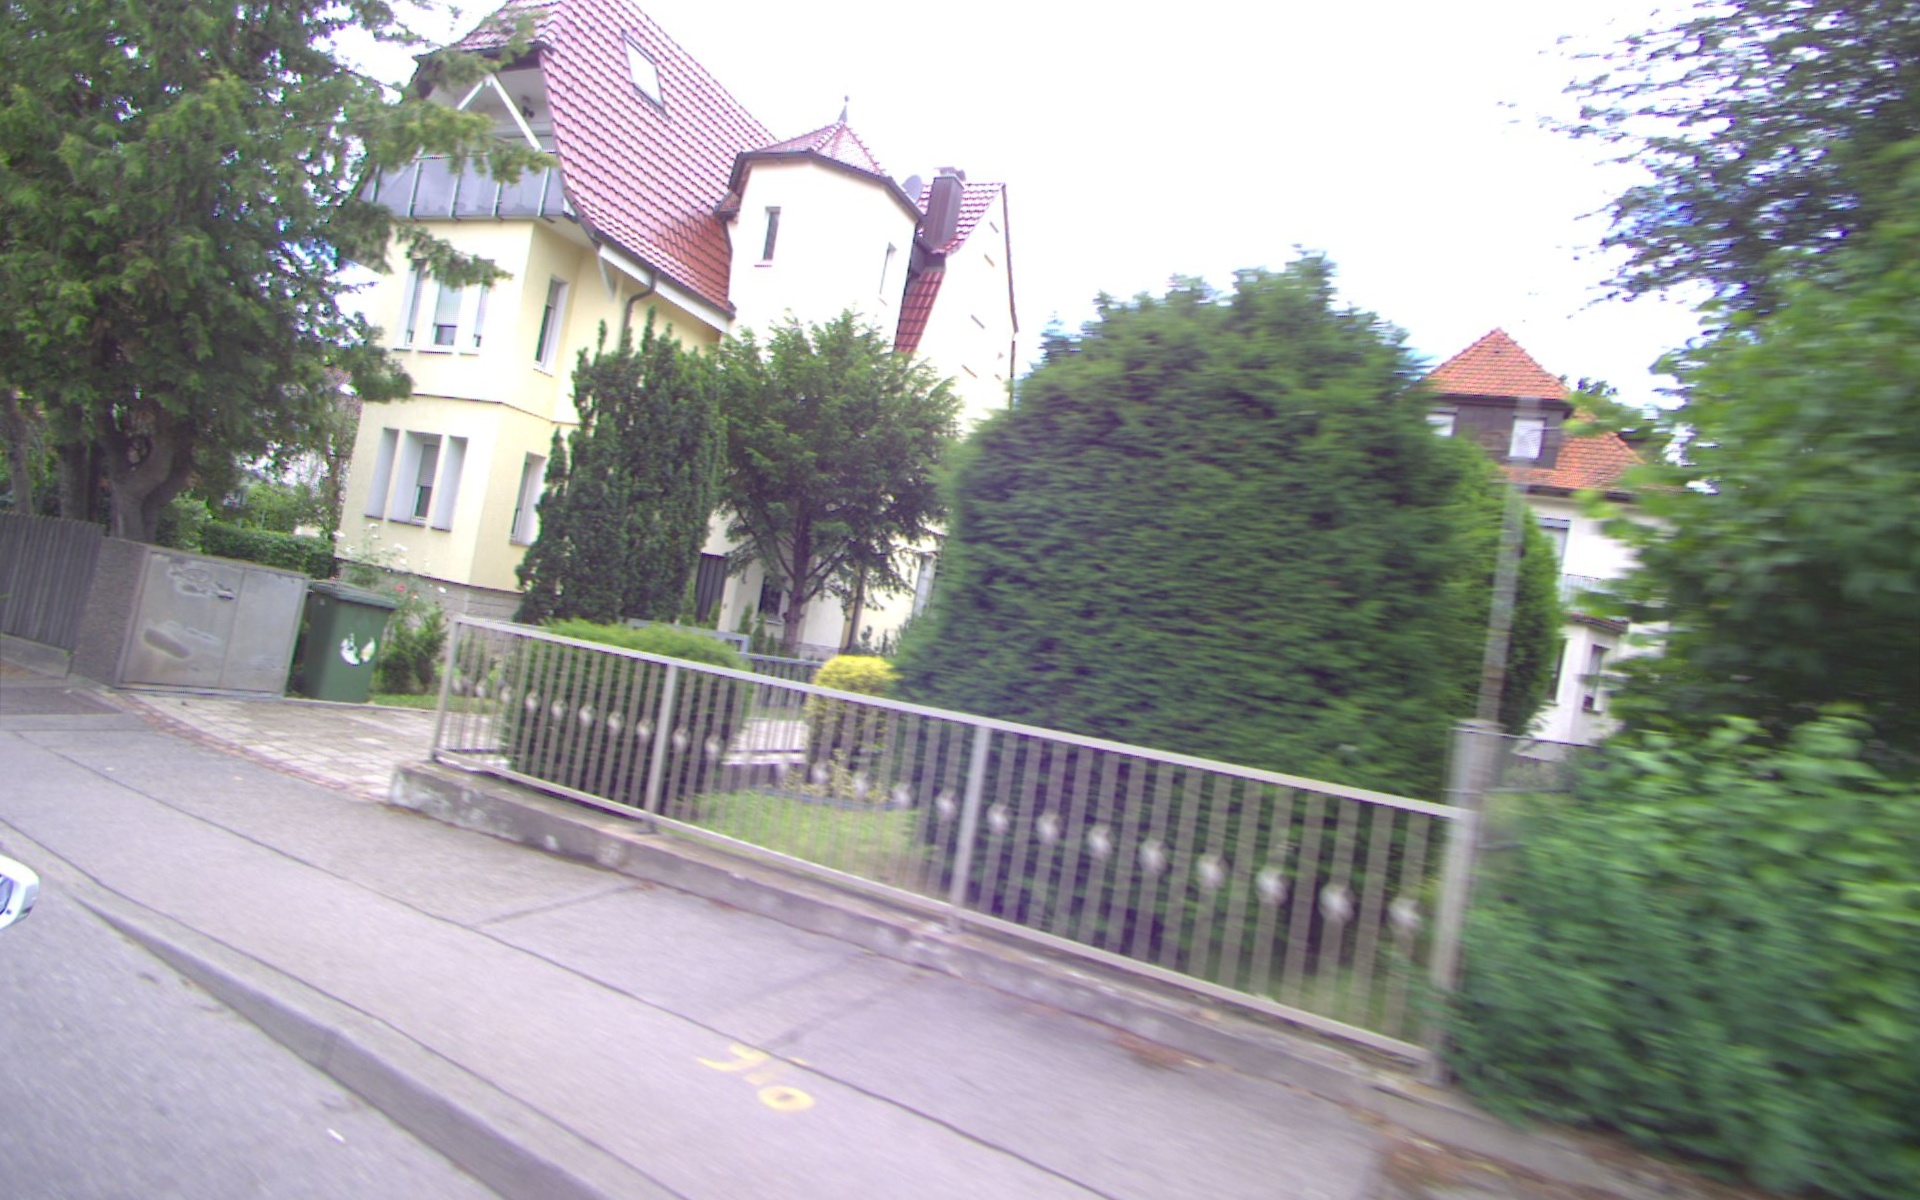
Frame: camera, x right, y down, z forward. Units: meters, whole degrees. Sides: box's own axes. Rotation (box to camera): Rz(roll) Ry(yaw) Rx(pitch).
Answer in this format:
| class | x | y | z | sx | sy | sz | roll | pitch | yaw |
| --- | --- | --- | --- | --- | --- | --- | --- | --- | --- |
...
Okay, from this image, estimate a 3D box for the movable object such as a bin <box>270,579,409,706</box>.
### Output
| class | x | y | z | sx | sy | sz | roll | pitch | yaw |
| --- | --- | --- | --- | --- | --- | --- | --- | --- | --- |
| movable object such as a bin | -5.843 | 0.406 | 9.485 | 0.771 | 1.061 | 0.778 | 7 | -1 | 36 |
